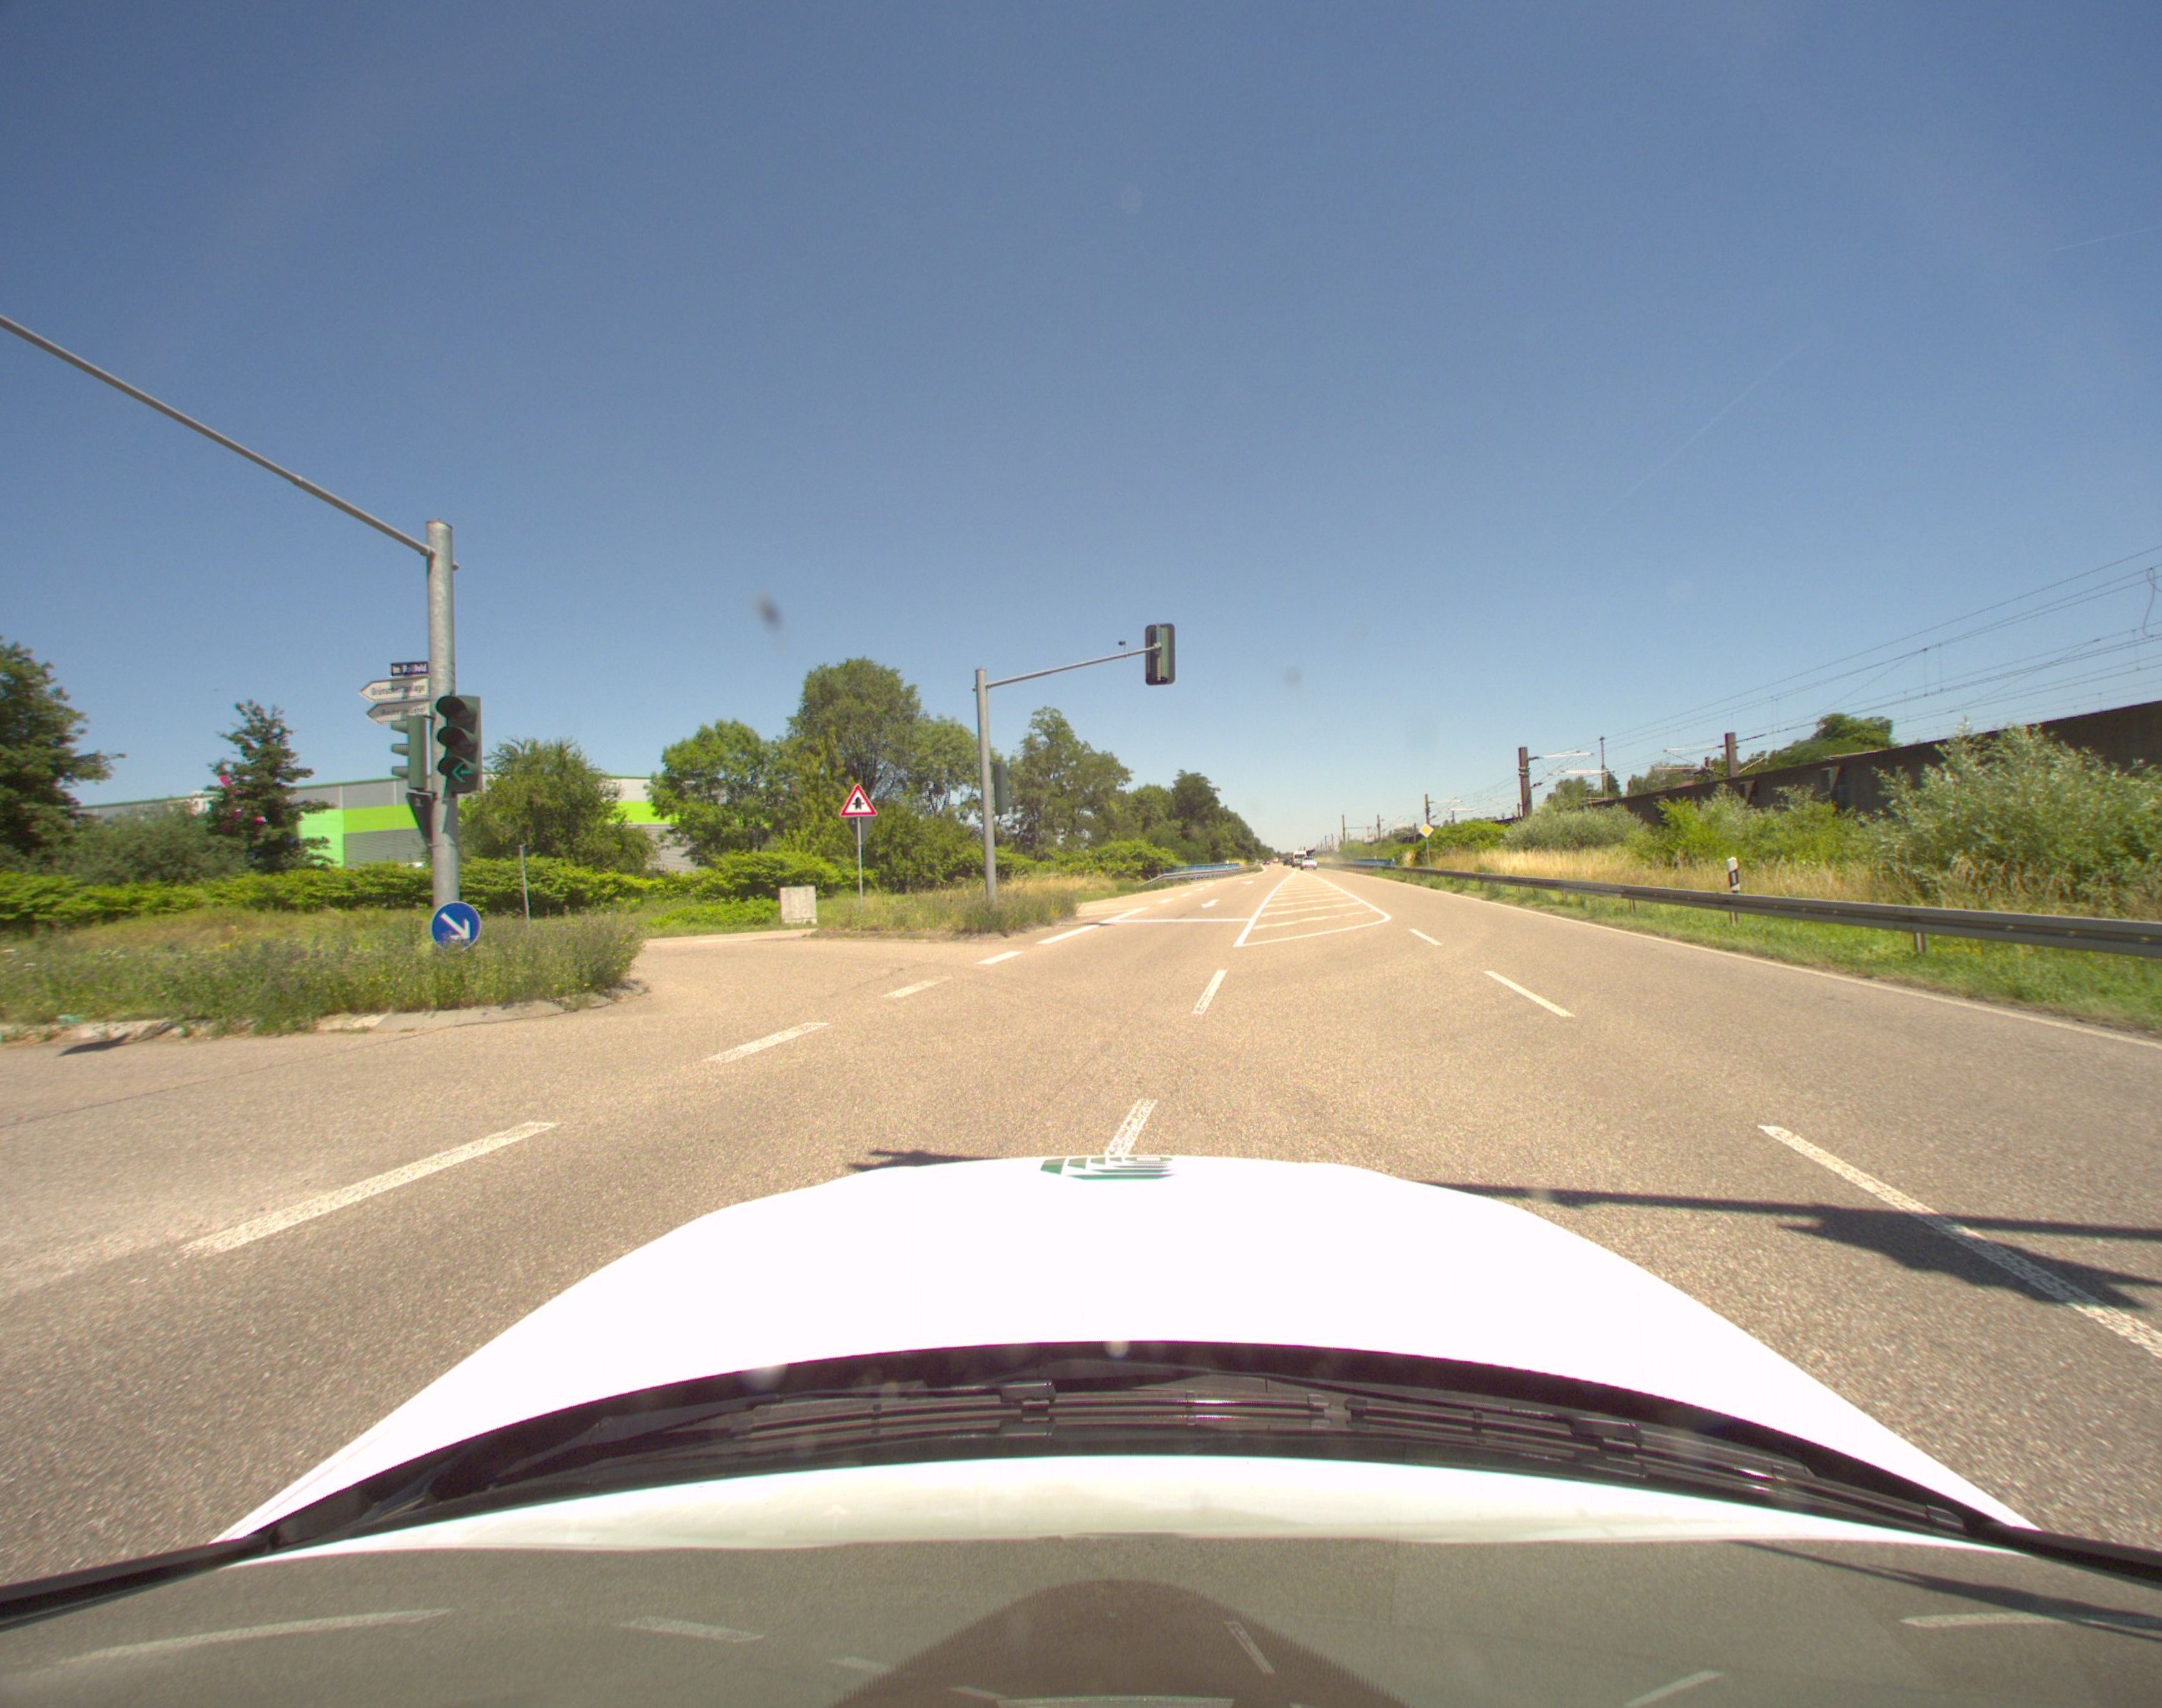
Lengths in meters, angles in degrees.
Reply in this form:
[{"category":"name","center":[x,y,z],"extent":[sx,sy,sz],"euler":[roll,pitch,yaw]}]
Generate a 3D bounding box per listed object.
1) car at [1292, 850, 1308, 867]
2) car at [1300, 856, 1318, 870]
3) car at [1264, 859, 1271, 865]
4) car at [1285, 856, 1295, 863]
[{"category":"car","center":[34.196,0.656,127.290],"extent":[2.172,2.604,6.776],"euler":[-1,0,14]},{"category":"car","center":[27.243,1.052,97.255],"extent":[1.805,1.564,4.293],"euler":[-2,-1,12]},{"category":"car","center":[48.114,2.003,210.287],"extent":[1.844,1.379,4.519],"euler":[-1,0,13]},{"category":"car","center":[42.679,1.116,166.504],"extent":[1.844,1.379,4.519],"euler":[-1,0,13]}]
